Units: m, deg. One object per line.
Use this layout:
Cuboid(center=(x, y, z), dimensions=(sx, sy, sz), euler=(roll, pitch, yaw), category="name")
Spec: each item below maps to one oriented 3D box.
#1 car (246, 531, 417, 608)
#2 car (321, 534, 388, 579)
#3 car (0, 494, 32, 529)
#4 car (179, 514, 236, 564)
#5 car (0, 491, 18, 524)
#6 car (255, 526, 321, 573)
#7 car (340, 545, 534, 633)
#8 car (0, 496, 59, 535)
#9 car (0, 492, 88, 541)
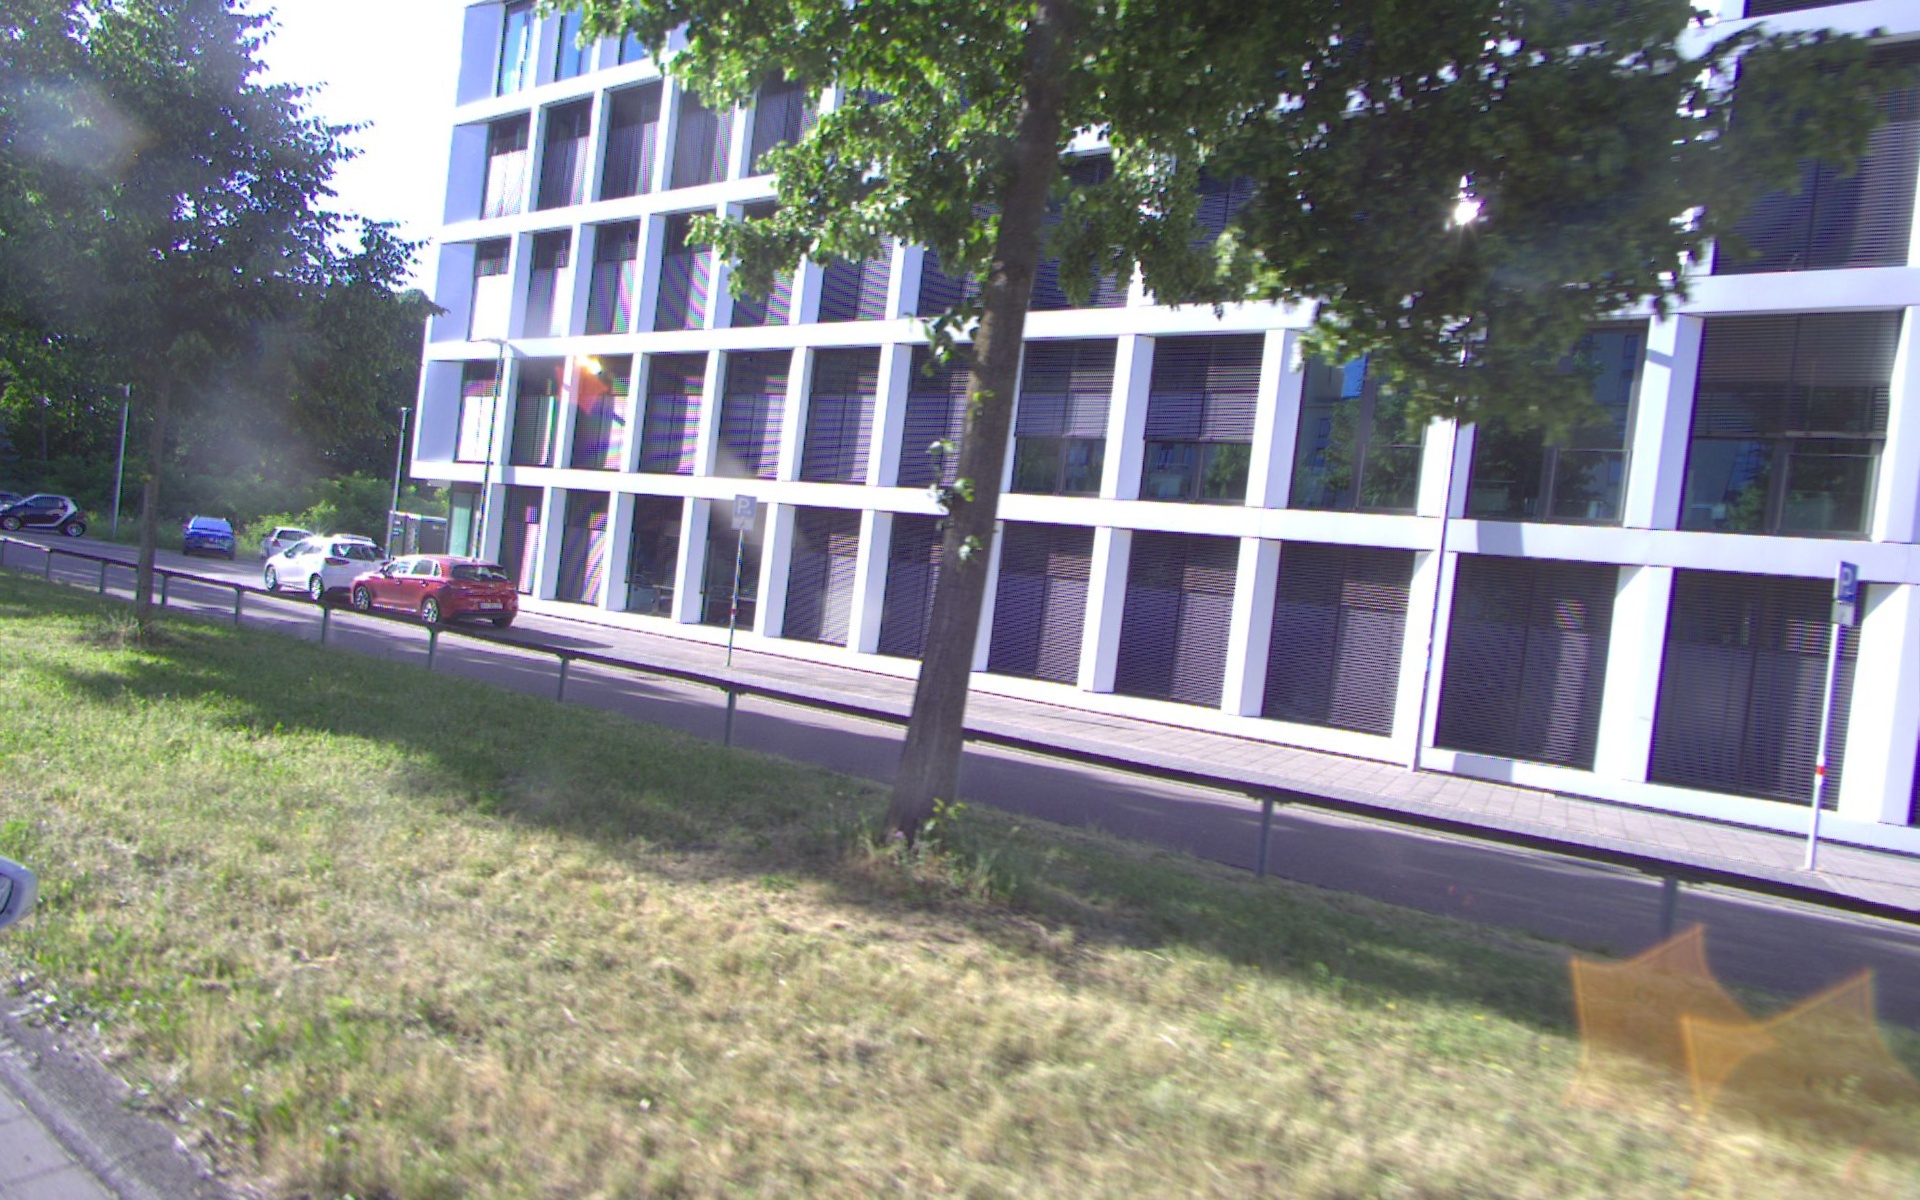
Cuboid(center=(-15.622, -0.766, 24.947), dimensions=(4.332, 1.506, 1.992), euler=(6, 2, 35), category="car")
Cuboid(center=(-25.519, -1.848, 42.324), dimensions=(1.711, 1.558, 3.908), euler=(9, -2, -39), category="car")
Cuboid(center=(-46.937, -4.411, 47.481), dimensions=(1.752, 1.517, 4.198), euler=(7, 0, 29), category="car")
Cuboid(center=(-29.241, -2.386, 39.030), dimensions=(1.585, 1.565, 3.777), euler=(6, 2, -38), category="car")
Cuboid(center=(-49.437, -4.792, 49.305), dimensions=(1.873, 1.497, 4.333), euler=(8, 2, 28), category="car")
Cuboid(center=(-27.389, -2.072, 40.968), dimensions=(1.740, 1.553, 3.839), euler=(9, -2, -39), category="car")
Cuboid(center=(-11.546, -0.250, 22.129), dimensions=(4.202, 1.506, 1.865), euler=(6, 2, 32), category="car")
Cuboid(center=(-42.639, -3.875, 44.297), dimensions=(1.687, 1.486, 4.081), euler=(6, 1, 32), category="car")
Cuboid(center=(-36.583, -3.317, 39.934), dimensions=(1.441, 1.569, 2.761), euler=(6, 0, 41), category="car")
